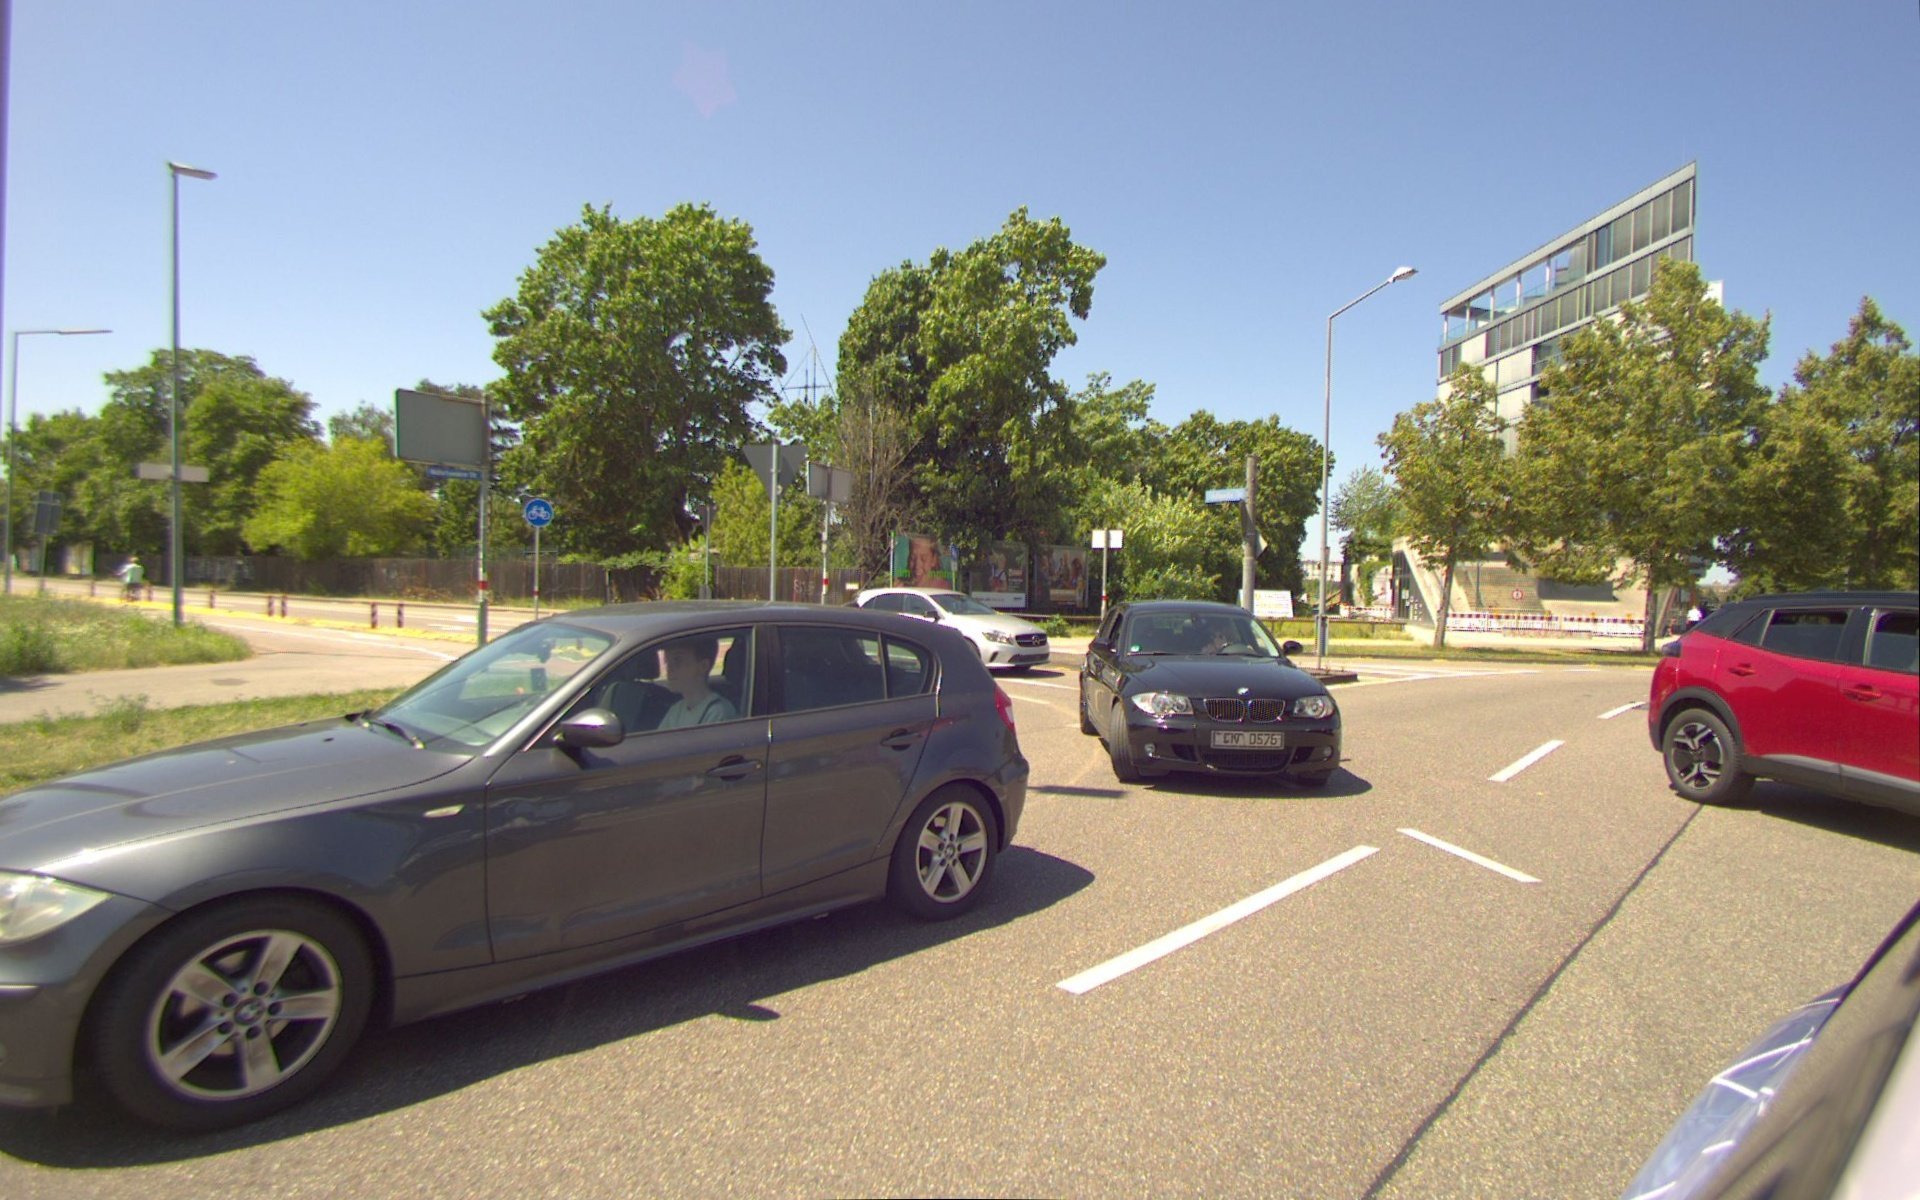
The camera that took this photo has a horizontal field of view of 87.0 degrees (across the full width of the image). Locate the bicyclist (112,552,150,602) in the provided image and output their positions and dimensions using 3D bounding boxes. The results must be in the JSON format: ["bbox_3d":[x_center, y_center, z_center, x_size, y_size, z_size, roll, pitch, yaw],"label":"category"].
[{"bbox_3d":[-28.133,-0.793,34.342,1.157,1.661,0.738,2,0,39],"label":"bicyclist"}]

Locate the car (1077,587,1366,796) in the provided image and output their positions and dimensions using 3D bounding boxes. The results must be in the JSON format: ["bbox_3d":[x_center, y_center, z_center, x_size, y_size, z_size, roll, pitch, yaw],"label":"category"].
[{"bbox_3d":[2.074,0.618,9.158,1.770,1.458,3.997,0,1,3],"label":"car"}]

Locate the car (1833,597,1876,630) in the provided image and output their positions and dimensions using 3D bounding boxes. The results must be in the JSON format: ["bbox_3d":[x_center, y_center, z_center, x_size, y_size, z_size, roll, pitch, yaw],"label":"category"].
[{"bbox_3d":[71.828,1.097,81.349,1.986,2.540,3.952,2,0,33],"label":"car"}]

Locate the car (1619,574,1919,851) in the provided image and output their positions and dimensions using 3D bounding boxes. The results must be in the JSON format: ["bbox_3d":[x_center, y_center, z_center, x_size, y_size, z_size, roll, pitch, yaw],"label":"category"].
[{"bbox_3d":[6.209,0.648,5.953,1.687,1.546,4.214,2,0,-3],"label":"car"}]

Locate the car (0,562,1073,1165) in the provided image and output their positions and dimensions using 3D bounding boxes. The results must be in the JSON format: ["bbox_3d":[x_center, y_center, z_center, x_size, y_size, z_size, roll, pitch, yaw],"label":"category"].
[{"bbox_3d":[-1.521,0.623,4.234,4.010,1.421,1.750,1,0,-42],"label":"car"}]

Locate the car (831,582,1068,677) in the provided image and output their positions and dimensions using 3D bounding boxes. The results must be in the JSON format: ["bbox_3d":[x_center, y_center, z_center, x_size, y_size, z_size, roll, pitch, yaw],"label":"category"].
[{"bbox_3d":[-0.239,0.436,18.253,3.976,1.446,1.840,2,2,36],"label":"car"}]

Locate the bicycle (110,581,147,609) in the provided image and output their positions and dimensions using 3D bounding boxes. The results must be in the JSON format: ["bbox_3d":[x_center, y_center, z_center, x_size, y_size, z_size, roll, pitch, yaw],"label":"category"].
[{"bbox_3d":[-28.217,-0.193,34.350,1.867,0.890,0.620,2,2,39],"label":"bicycle"}]

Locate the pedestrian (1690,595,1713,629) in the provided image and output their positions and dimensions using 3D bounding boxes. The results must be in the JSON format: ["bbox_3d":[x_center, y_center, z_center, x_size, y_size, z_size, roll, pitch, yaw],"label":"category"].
[{"bbox_3d":[41.563,0.666,56.727,0.601,1.892,0.834,-1,2,-40],"label":"pedestrian"}]
